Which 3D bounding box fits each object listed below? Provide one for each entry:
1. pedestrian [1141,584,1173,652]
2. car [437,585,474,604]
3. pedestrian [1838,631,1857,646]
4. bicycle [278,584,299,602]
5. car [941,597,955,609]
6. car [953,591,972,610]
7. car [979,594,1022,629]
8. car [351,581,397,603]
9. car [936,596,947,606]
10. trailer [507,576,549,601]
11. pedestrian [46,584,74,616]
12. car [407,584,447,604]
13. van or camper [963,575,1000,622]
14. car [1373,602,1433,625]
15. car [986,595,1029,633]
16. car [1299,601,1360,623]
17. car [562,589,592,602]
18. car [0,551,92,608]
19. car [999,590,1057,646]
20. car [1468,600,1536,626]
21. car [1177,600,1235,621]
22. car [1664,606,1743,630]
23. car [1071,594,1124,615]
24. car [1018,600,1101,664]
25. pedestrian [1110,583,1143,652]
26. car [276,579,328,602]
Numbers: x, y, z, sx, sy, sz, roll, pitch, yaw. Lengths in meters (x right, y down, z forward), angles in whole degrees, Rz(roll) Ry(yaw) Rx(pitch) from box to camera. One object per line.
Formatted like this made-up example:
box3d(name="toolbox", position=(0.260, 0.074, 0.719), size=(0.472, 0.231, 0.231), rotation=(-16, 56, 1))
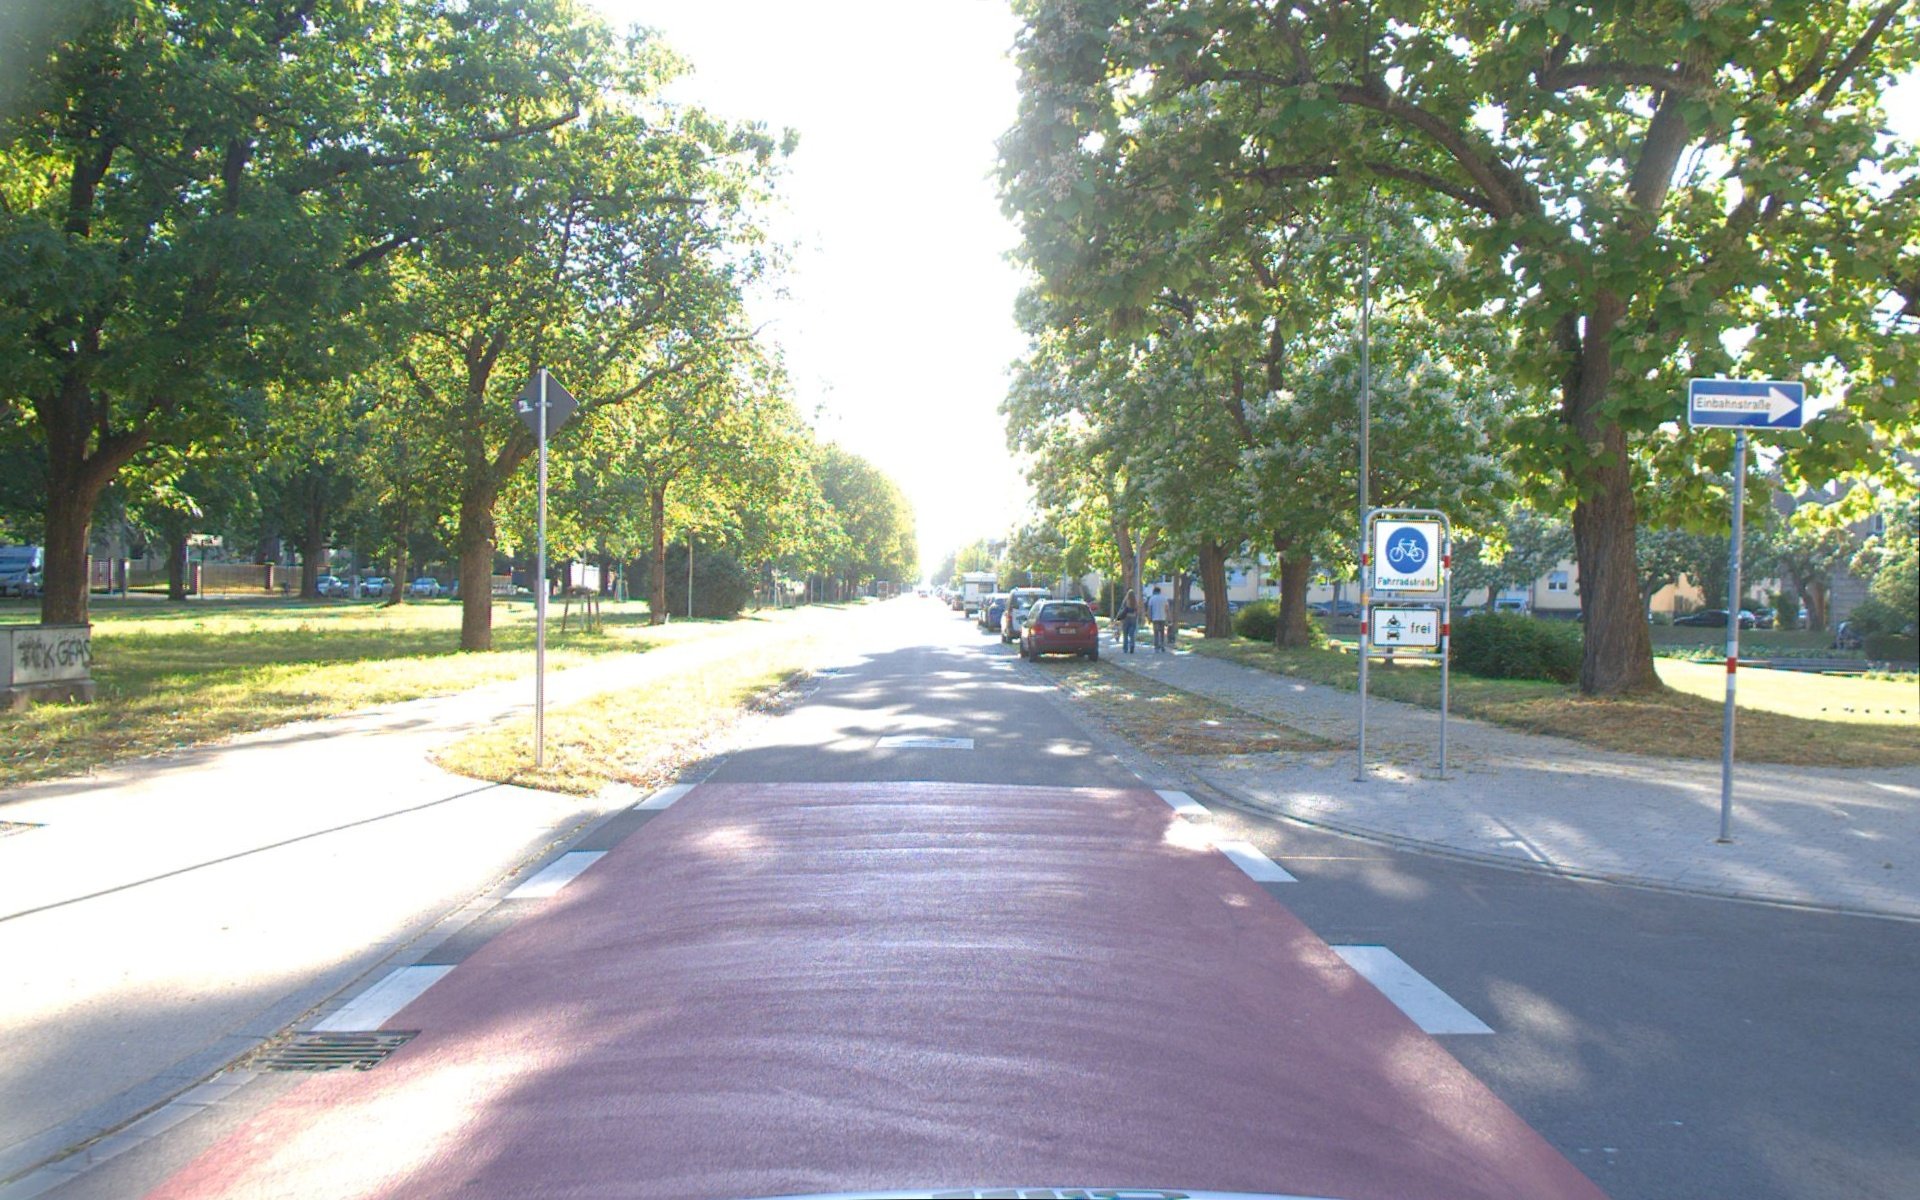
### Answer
box3d(name="pedestrian", position=(5.195, 0.463, 43.677), size=(0.710, 1.766, 0.731), rotation=(2, 0, -1))
box3d(name="car", position=(-43.844, -0.462, 143.898), size=(1.953, 1.534, 4.115), rotation=(1, 0, 0))
box3d(name="pedestrian", position=(47.367, 2.059, 88.286), size=(0.575, 0.808, 0.665), rotation=(1, 0, -12))
box3d(name="bicycle", position=(-45.158, -0.460, 111.248), size=(0.644, 1.196, 2.332), rotation=(1, 0, -4))
box3d(name="car", position=(-1.460, 0.355, 203.400), size=(1.593, 1.434, 4.248), rotation=(1, 0, -2))
box3d(name="car", position=(0.180, 0.030, 149.644), size=(1.593, 1.698, 4.248), rotation=(1, 0, -2))
box3d(name="car", position=(1.858, 0.542, 77.081), size=(1.697, 1.578, 4.420), rotation=(1, 0, -2))
box3d(name="car", position=(-43.637, -0.590, 123.193), size=(1.953, 1.534, 4.115), rotation=(1, 0, 0))
box3d(name="car", position=(-2.779, 0.162, 251.074), size=(1.593, 1.434, 4.248), rotation=(1, 0, -2))
box3d(name="trailer", position=(-43.998, -1.150, 168.747), size=(2.409, 2.532, 7.049), rotation=(1, 0, 0))
box3d(name="pedestrian", position=(-28.399, 0.006, 52.198), size=(0.537, 1.004, 0.610), rotation=(1, 0, 0))
box3d(name="car", position=(-43.483, -0.487, 134.977), size=(1.953, 1.534, 4.115), rotation=(1, 0, 0))
box3d(name="van or camper", position=(1.351, -0.055, 108.347), size=(2.189, 2.955, 5.670), rotation=(1, -1, -2))
box3d(name="car", position=(31.678, 0.958, 118.331), size=(3.909, 1.579, 1.609), rotation=(1, 0, 27))
box3d(name="car", position=(2.012, 0.587, 70.832), size=(1.696, 1.578, 4.275), rotation=(1, 0, 0))
box3d(name="car", position=(28.346, 0.918, 126.748), size=(4.416, 1.597, 1.881), rotation=(1, 0, 18))
box3d(name="car", position=(-46.121, -0.556, 199.297), size=(2.456, 1.534, 4.912), rotation=(1, 0, 0))
box3d(name="car", position=(-42.860, -0.916, 76.072), size=(2.666, 2.506, 6.315), rotation=(1, 0, -2))
box3d(name="car", position=(2.248, 0.580, 55.416), size=(1.644, 1.770, 4.512), rotation=(1, 0, -1))
box3d(name="car", position=(39.515, 0.932, 120.585), size=(4.432, 1.776, 1.875), rotation=(0, 0, 34))
box3d(name="car", position=(18.355, 0.807, 123.172), size=(4.106, 1.488, 1.694), rotation=(1, 0, 14))
box3d(name="car", position=(47.456, 1.149, 105.612), size=(1.862, 1.478, 4.307), rotation=(1, 0, -39))
box3d(name="car", position=(10.861, 0.363, 130.461), size=(4.107, 1.557, 2.001), rotation=(1, 0, 3))
box3d(name="car", position=(2.442, 0.766, 41.565), size=(1.644, 1.512, 4.808), rotation=(1, 0, -1))
box3d(name="pedestrian", position=(4.379, 0.455, 43.562), size=(0.738, 1.766, 0.731), rotation=(2, 0, -1))
box3d(name="car", position=(-44.495, -0.614, 111.903), size=(1.953, 1.534, 3.999), rotation=(1, 0, 0))
